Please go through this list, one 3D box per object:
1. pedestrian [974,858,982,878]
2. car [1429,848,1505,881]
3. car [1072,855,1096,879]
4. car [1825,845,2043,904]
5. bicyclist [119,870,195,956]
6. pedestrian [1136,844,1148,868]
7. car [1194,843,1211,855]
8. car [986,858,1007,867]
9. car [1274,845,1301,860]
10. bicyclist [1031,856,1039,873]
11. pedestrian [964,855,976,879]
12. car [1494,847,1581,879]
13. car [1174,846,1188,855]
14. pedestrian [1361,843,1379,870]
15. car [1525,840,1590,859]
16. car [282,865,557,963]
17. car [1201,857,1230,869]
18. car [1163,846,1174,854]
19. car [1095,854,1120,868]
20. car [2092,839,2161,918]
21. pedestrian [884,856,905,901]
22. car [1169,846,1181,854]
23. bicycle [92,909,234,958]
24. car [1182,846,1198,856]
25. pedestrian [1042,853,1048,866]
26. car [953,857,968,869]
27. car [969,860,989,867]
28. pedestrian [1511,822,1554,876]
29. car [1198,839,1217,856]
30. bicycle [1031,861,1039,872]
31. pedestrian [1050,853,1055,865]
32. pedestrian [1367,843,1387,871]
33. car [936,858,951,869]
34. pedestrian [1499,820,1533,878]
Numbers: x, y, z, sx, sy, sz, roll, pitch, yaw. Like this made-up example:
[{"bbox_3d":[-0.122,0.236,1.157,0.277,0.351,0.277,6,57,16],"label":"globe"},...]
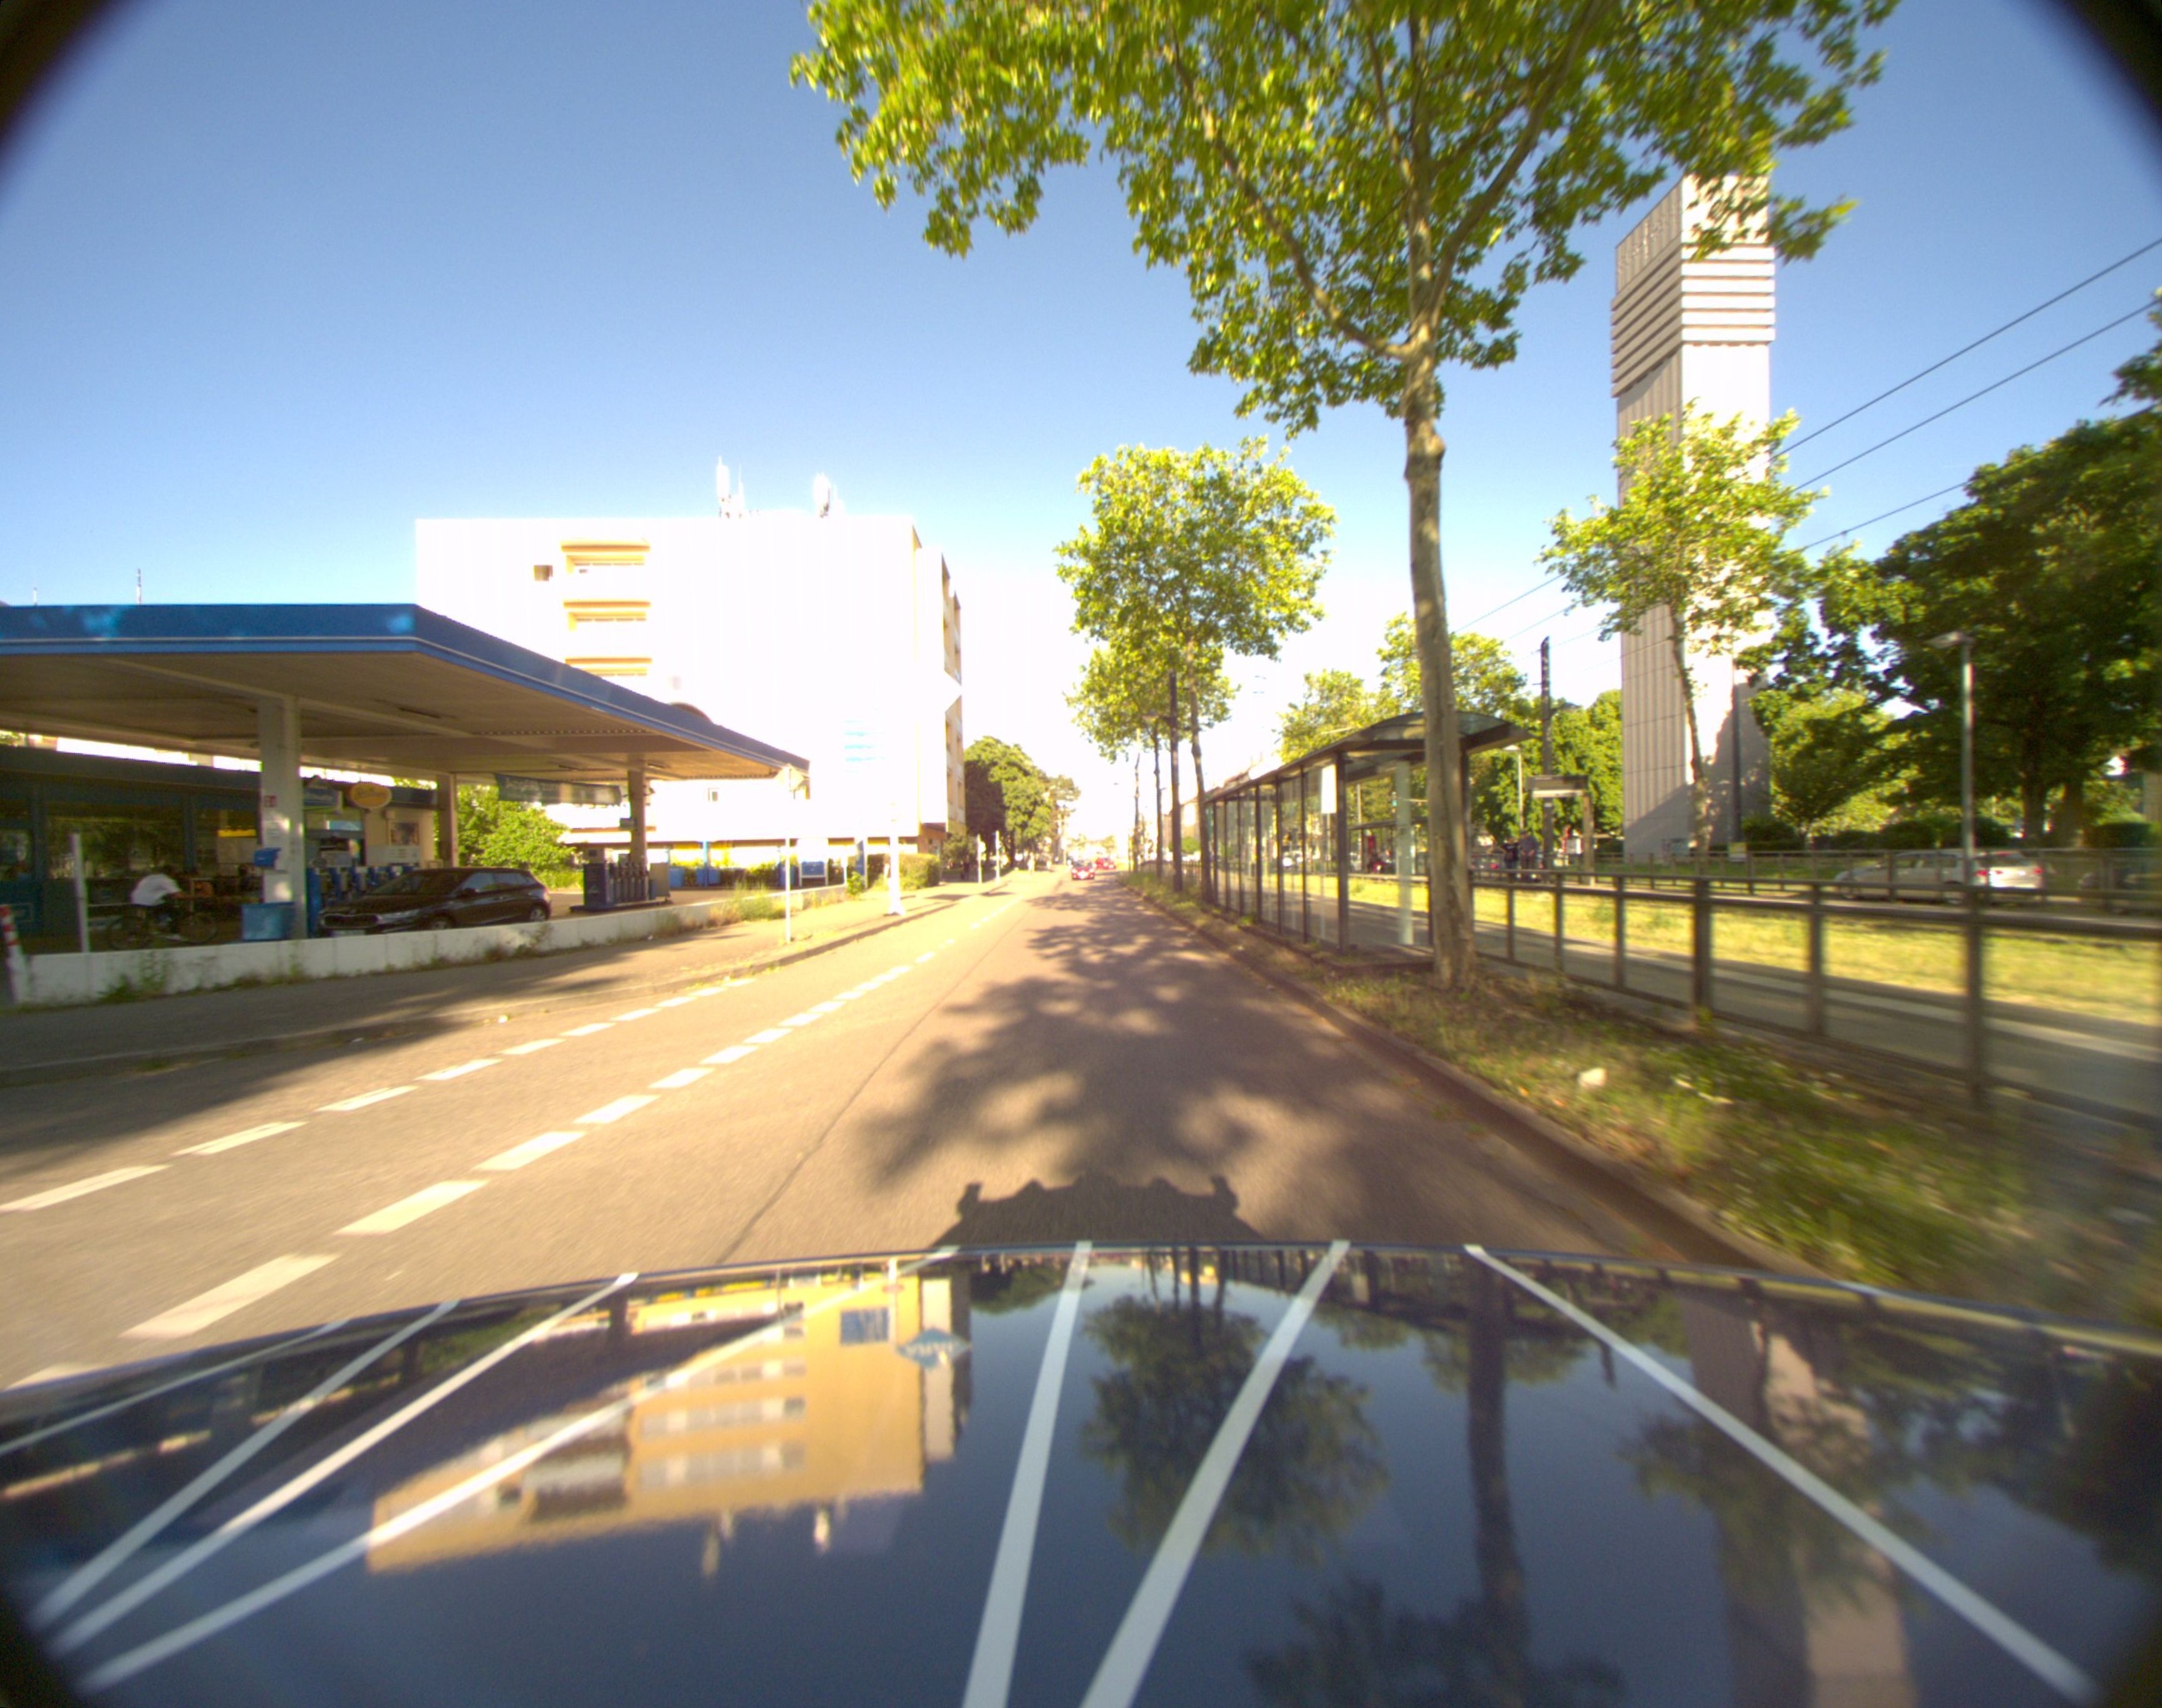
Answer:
[{"bbox_3d":[-8.298,1.134,61.114,0.505,1.537,0.518,-1,2,-17],"label":"pedestrian"},{"bbox_3d":[17.733,0.455,35.057,1.609,1.419,3.536,-2,0,-2],"label":"car"},{"bbox_3d":[0.240,0.884,54.642,1.619,1.537,4.277,-2,1,1],"label":"car"},{"bbox_3d":[23.112,0.495,20.839,1.598,1.436,3.930,-1,0,1],"label":"car"},{"bbox_3d":[-16.912,1.064,13.920,0.540,1.511,0.628,-2,1,-1],"label":"bicyclist"},{"bbox_3d":[3.943,0.128,49.285,0.660,1.520,0.538,-2,1,-7],"label":"pedestrian"},{"bbox_3d":[21.337,-0.845,133.272,2.144,2.022,5.157,-2,1,0],"label":"car"},{"bbox_3d":[-13.263,1.337,119.493,1.997,1.316,4.280,-2,1,10],"label":"car"},{"bbox_3d":[19.461,-0.136,71.711,1.329,1.317,3.415,-2,1,-6],"label":"car"},{"bbox_3d":[-4.183,0.937,68.849,0.678,1.466,0.936,-2,1,-2],"label":"bicyclist"},{"bbox_3d":[-8.878,1.020,60.723,0.790,1.817,1.032,-1,2,-17],"label":"pedestrian"},{"bbox_3d":[20.673,0.373,34.592,1.555,1.346,4.000,-2,1,1],"label":"car"},{"bbox_3d":[20.437,-0.672,155.091,2.144,1.697,5.445,-2,1,0],"label":"car"},{"bbox_3d":[14.742,0.142,38.779,0.733,1.334,0.774,-1,1,14],"label":"pedestrian"},{"bbox_3d":[42.280,-0.386,67.441,4.525,1.478,2.000,-2,1,0],"label":"car"},{"bbox_3d":[-12.158,1.002,14.390,1.725,1.455,4.004,-2,0,-2],"label":"car"},{"bbox_3d":[16.944,1.151,95.994,1.957,1.433,4.524,-2,0,-13],"label":"car"},{"bbox_3d":[21.786,-1.020,188.837,2.144,1.697,5.402,-2,1,0],"label":"car"},{"bbox_3d":[3.045,0.826,88.821,1.545,1.522,3.596,-4,1,-20],"label":"car"},{"bbox_3d":[23.310,0.499,14.965,1.598,1.623,3.930,-1,0,1],"label":"car"},{"bbox_3d":[-7.139,0.938,29.101,0.605,1.692,0.552,-2,1,4],"label":"pedestrian"},{"bbox_3d":[21.083,-0.832,170.561,2.144,1.697,5.445,-2,1,0],"label":"car"},{"bbox_3d":[-16.905,1.445,14.055,0.540,0.711,1.708,-2,0,-1],"label":"bicycle"},{"bbox_3d":[20.716,-0.596,144.625,2.144,1.697,5.157,-2,1,0],"label":"car"},{"bbox_3d":[-4.977,0.733,104.569,0.567,1.688,0.595,-2,1,-18],"label":"pedestrian"},{"bbox_3d":[-19.327,1.403,121.835,2.001,1.689,4.272,-2,1,-13],"label":"car"},{"bbox_3d":[-16.101,1.489,119.963,1.997,1.060,4.280,-2,1,10],"label":"car"},{"bbox_3d":[14.476,-0.158,24.357,0.885,1.680,0.754,-2,1,1],"label":"pedestrian"},{"bbox_3d":[21.061,-1.096,126.415,2.231,2.808,5.228,-2,1,0],"label":"car"},{"bbox_3d":[-4.171,1.154,68.937,0.684,0.925,1.735,-2,0,-1],"label":"bicycle"},{"bbox_3d":[-3.882,0.682,104.451,0.596,1.518,0.633,-2,1,-10],"label":"pedestrian"},{"bbox_3d":[14.752,0.149,37.910,0.696,1.334,0.734,-2,1,2],"label":"pedestrian"},{"bbox_3d":[-22.250,1.534,122.894,2.001,1.689,4.271,-1,0,-16],"label":"car"},{"bbox_3d":[14.363,-0.160,25.120,0.722,1.856,0.636,-2,1,1],"label":"pedestrian"}]
